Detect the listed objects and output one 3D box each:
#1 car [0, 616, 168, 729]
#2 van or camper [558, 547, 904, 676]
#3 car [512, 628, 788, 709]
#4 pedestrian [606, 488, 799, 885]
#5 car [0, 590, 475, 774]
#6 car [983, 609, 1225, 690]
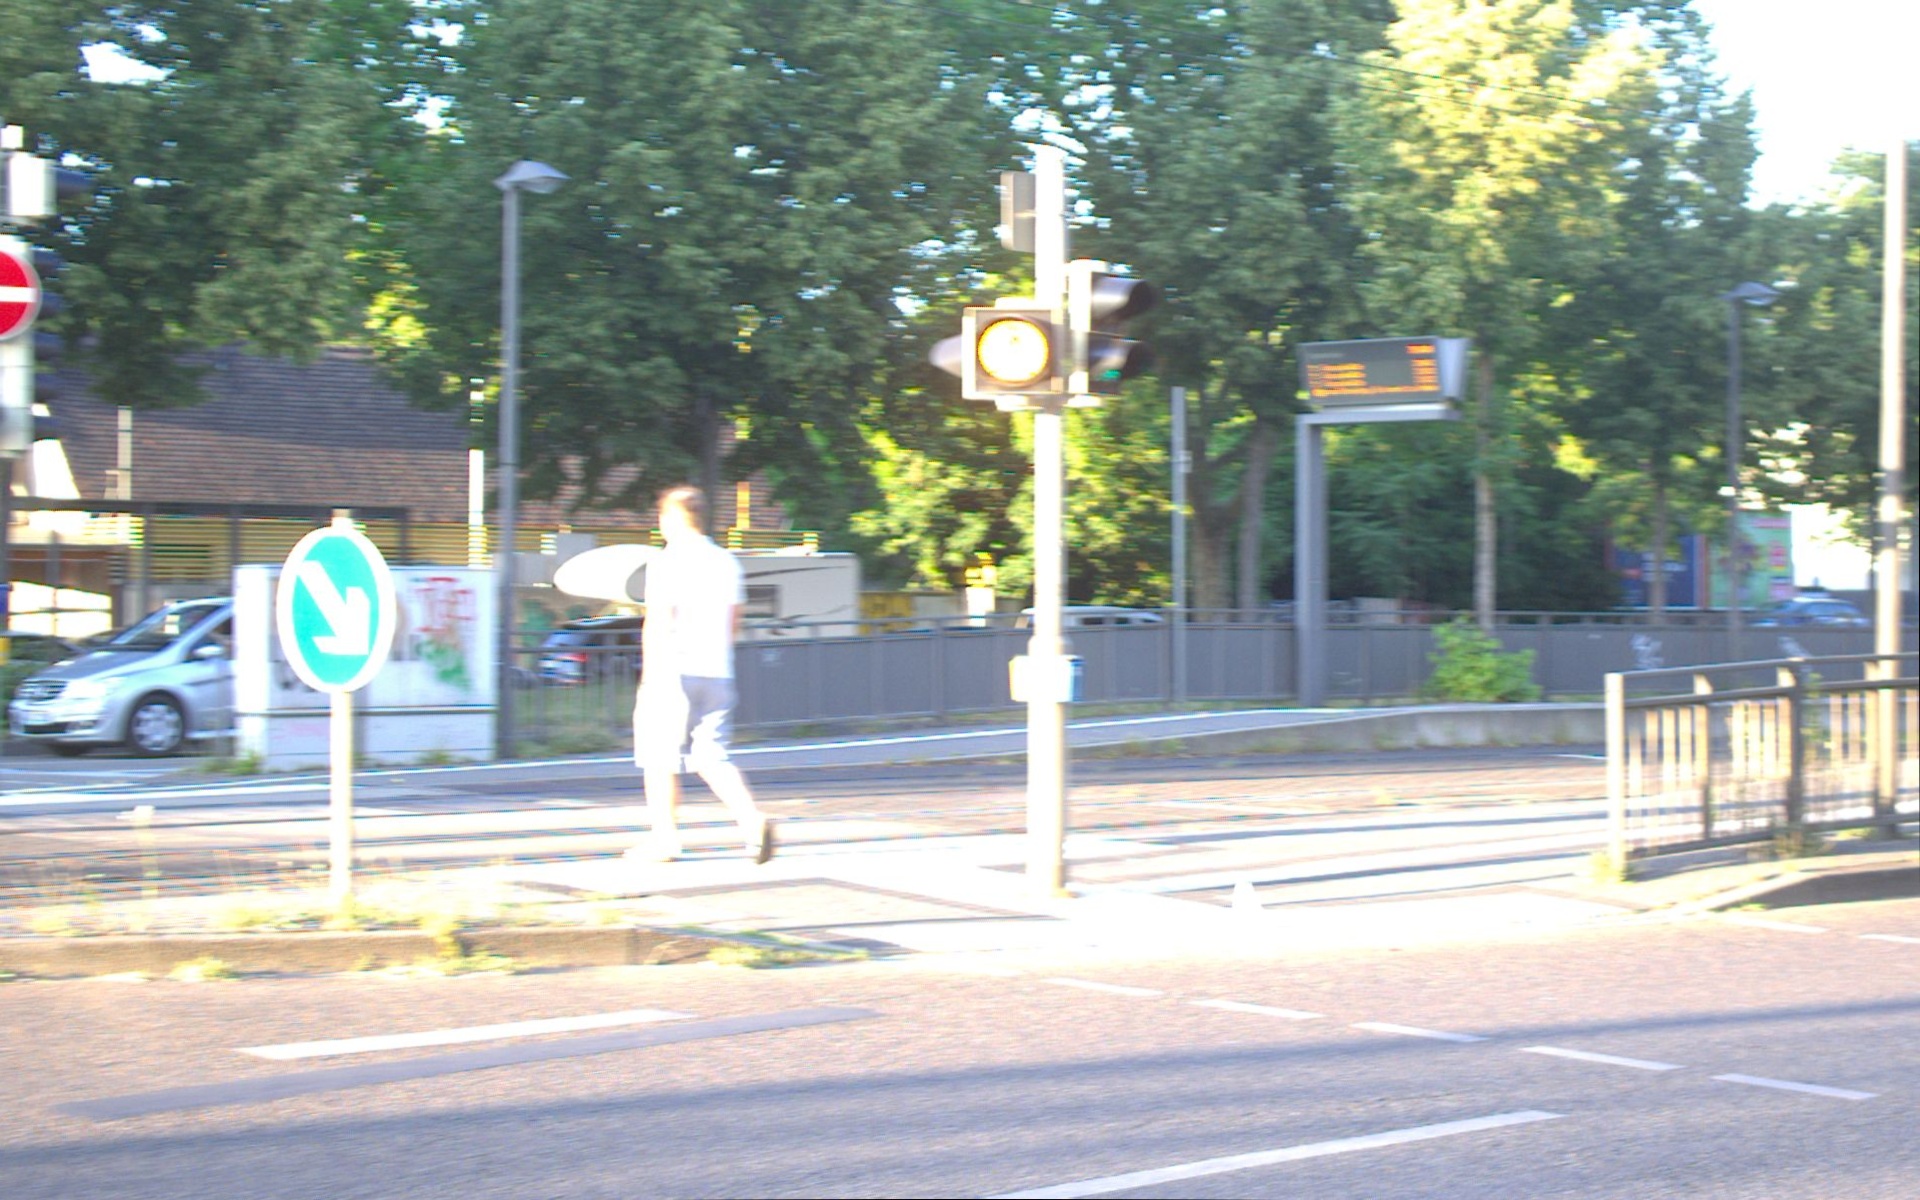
[{"bbox_3d":[-13.685,1.013,48.948,4.231,1.572,1.999,1,-1,-38],"label":"car"},{"bbox_3d":[-4.411,0.266,67.036,6.564,2.402,2.264,1,-1,-37],"label":"van or camper"},{"bbox_3d":[-5.167,1.137,57.557,4.231,1.296,1.926,1,-1,-38],"label":"car"},{"bbox_3d":[-1.208,0.401,16.020,0.761,1.785,0.802,2,-1,-11],"label":"pedestrian"},{"bbox_3d":[-7.254,0.787,34.383,4.536,1.722,1.860,1,-1,-45],"label":"car"},{"bbox_3d":[2.708,0.906,64.135,4.231,1.460,1.999,1,0,-38],"label":"car"}]
